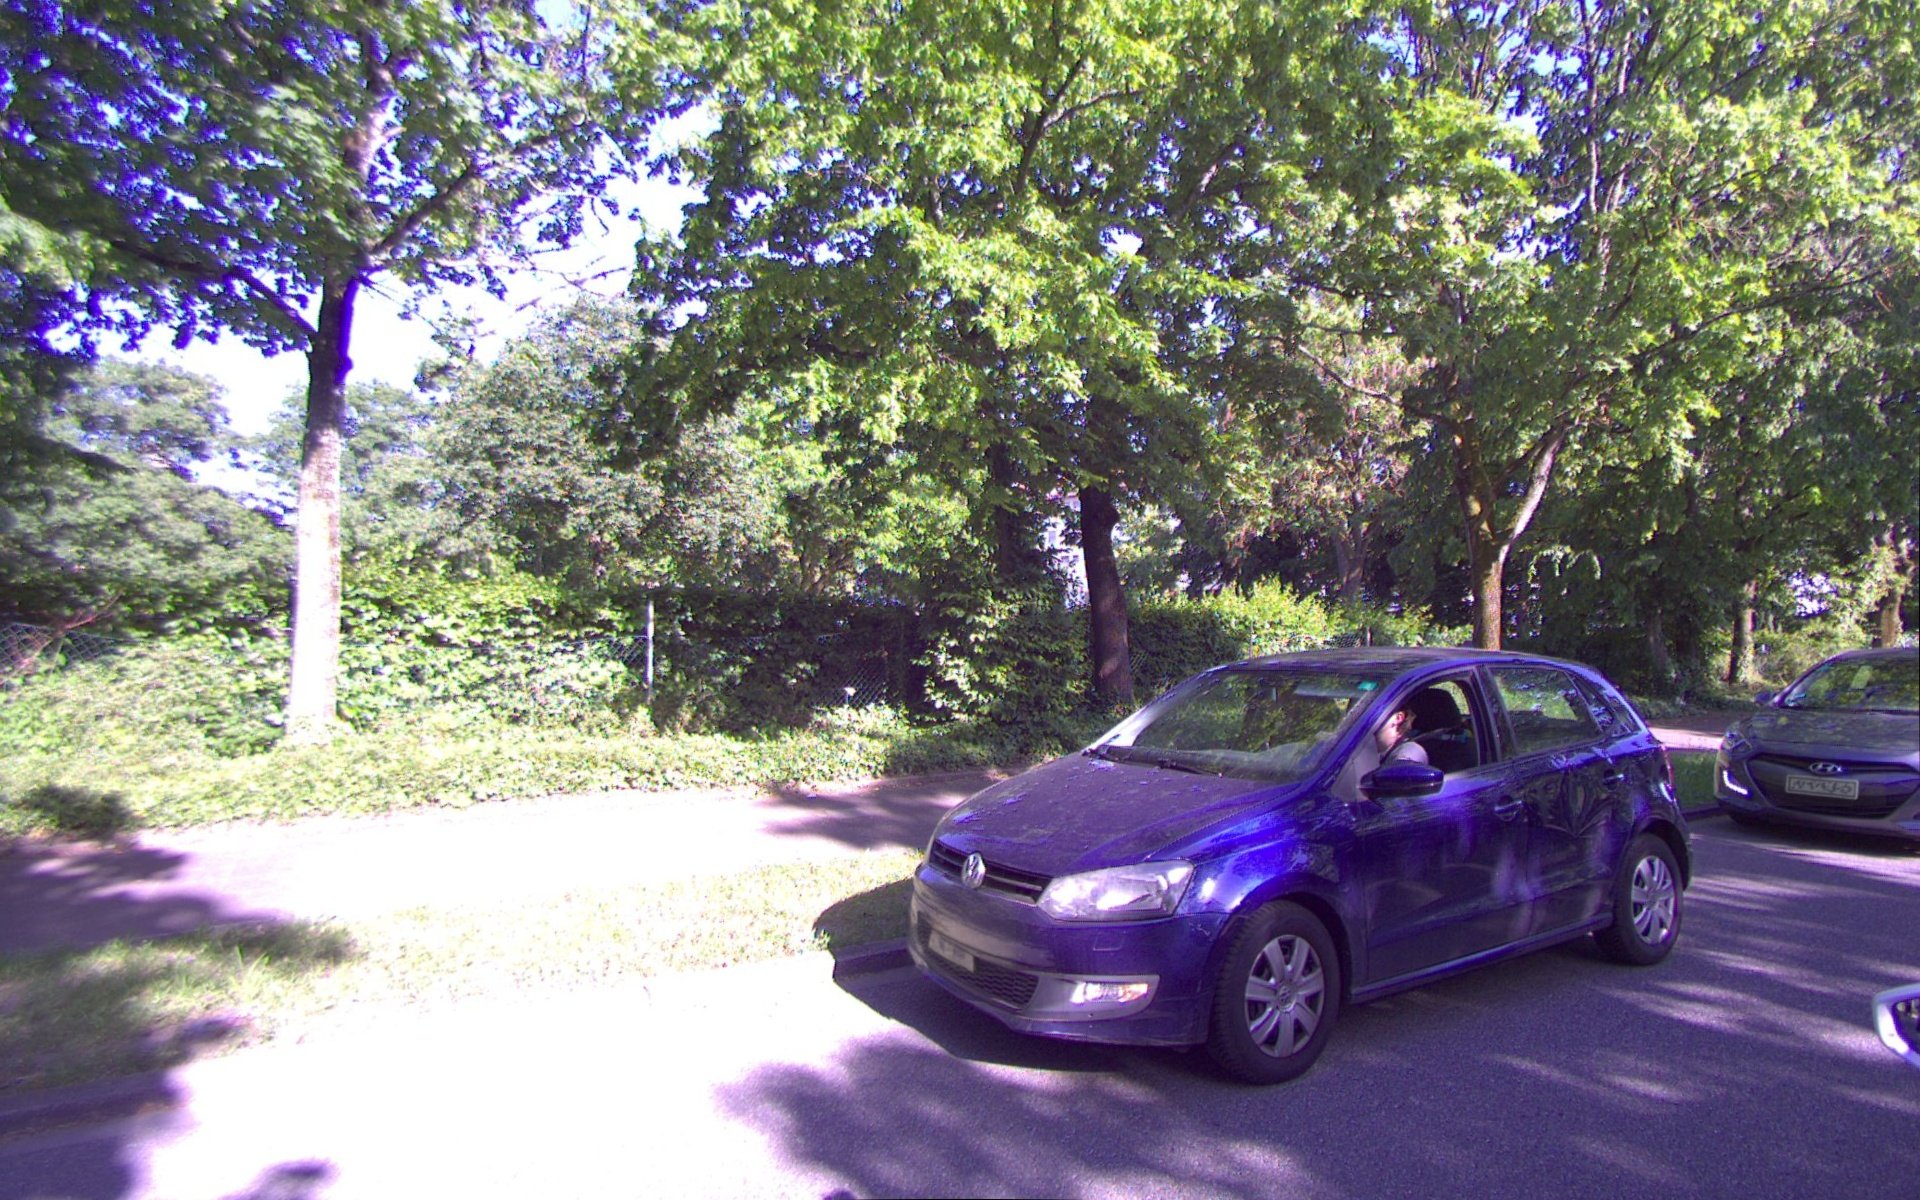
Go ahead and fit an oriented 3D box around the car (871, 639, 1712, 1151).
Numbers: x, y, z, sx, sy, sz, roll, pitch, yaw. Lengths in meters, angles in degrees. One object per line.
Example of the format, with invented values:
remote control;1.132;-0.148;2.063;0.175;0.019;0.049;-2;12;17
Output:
car;1.569;0.912;4.507;3.609;1.445;1.593;1;-2;-30

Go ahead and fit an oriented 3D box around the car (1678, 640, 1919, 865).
car;7.925;1.079;8.273;4.194;1.473;1.747;1;-2;-31
